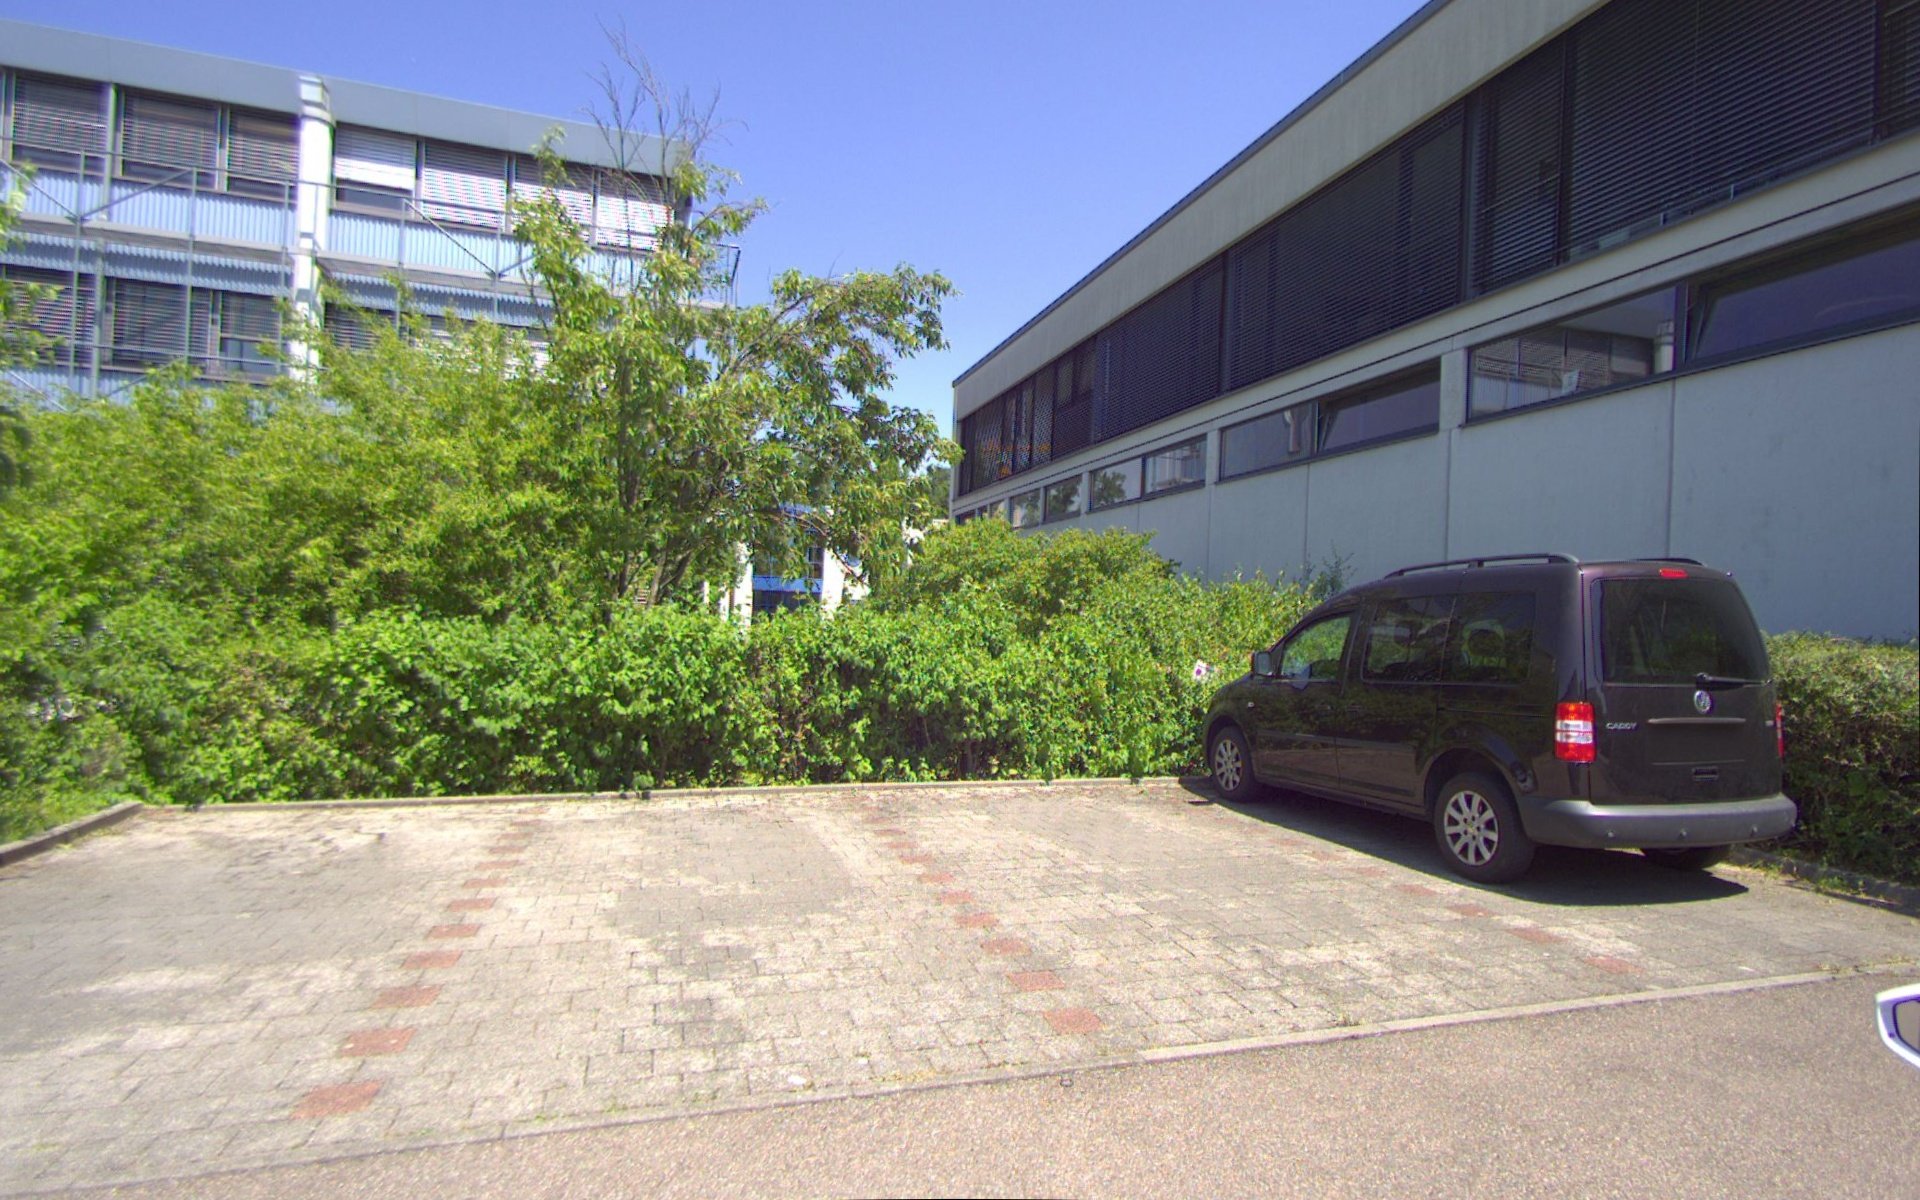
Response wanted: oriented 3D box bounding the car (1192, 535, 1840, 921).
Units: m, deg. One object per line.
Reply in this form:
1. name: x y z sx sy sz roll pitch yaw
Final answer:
1. car: 3.404 0.666 7.151 1.651 1.909 4.058 2 -1 -16
